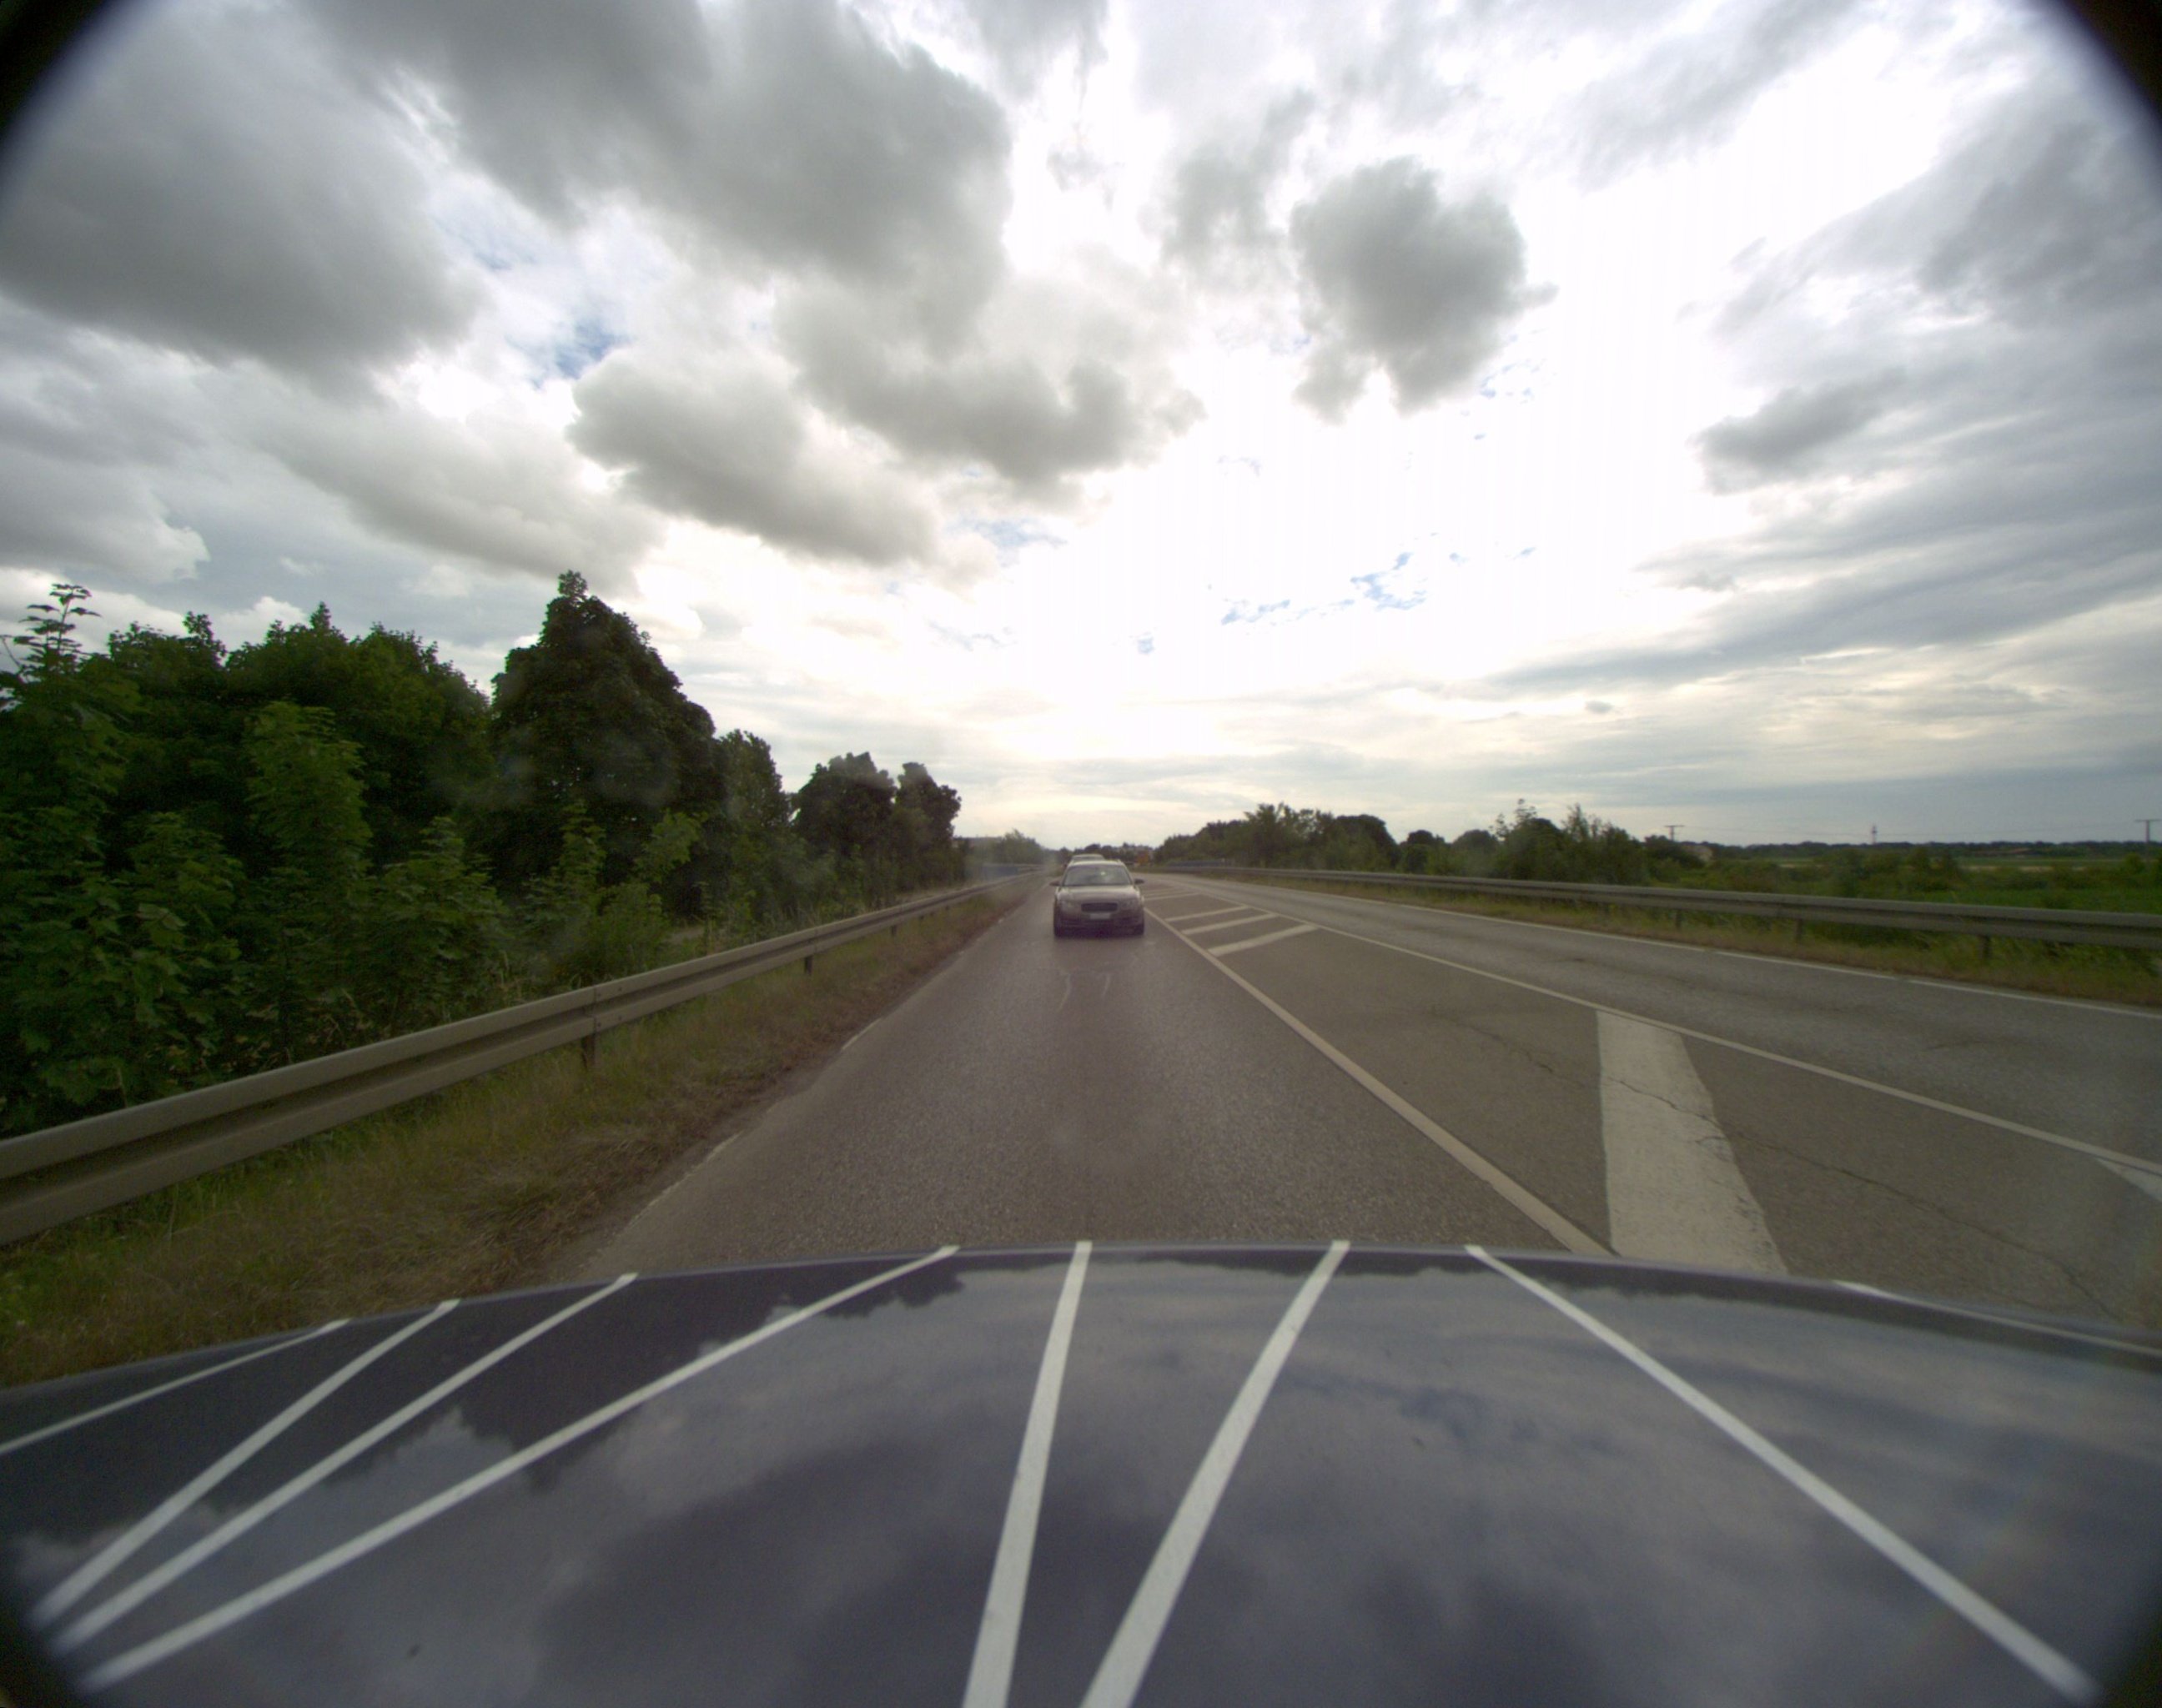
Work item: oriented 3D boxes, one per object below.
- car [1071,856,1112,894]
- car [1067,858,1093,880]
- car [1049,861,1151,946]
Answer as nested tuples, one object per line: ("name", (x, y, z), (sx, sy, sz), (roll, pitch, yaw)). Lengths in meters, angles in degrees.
("car", (0.461, 0.863, 32.806), (1.603, 1.494, 3.962), (-2, 0, 1))
("car", (-0.098, 0.977, 51.727), (1.670, 1.339, 4.000), (-2, 0, 0))
("car", (0.312, 0.892, 15.429), (1.768, 1.383, 3.876), (-2, 1, -1))
